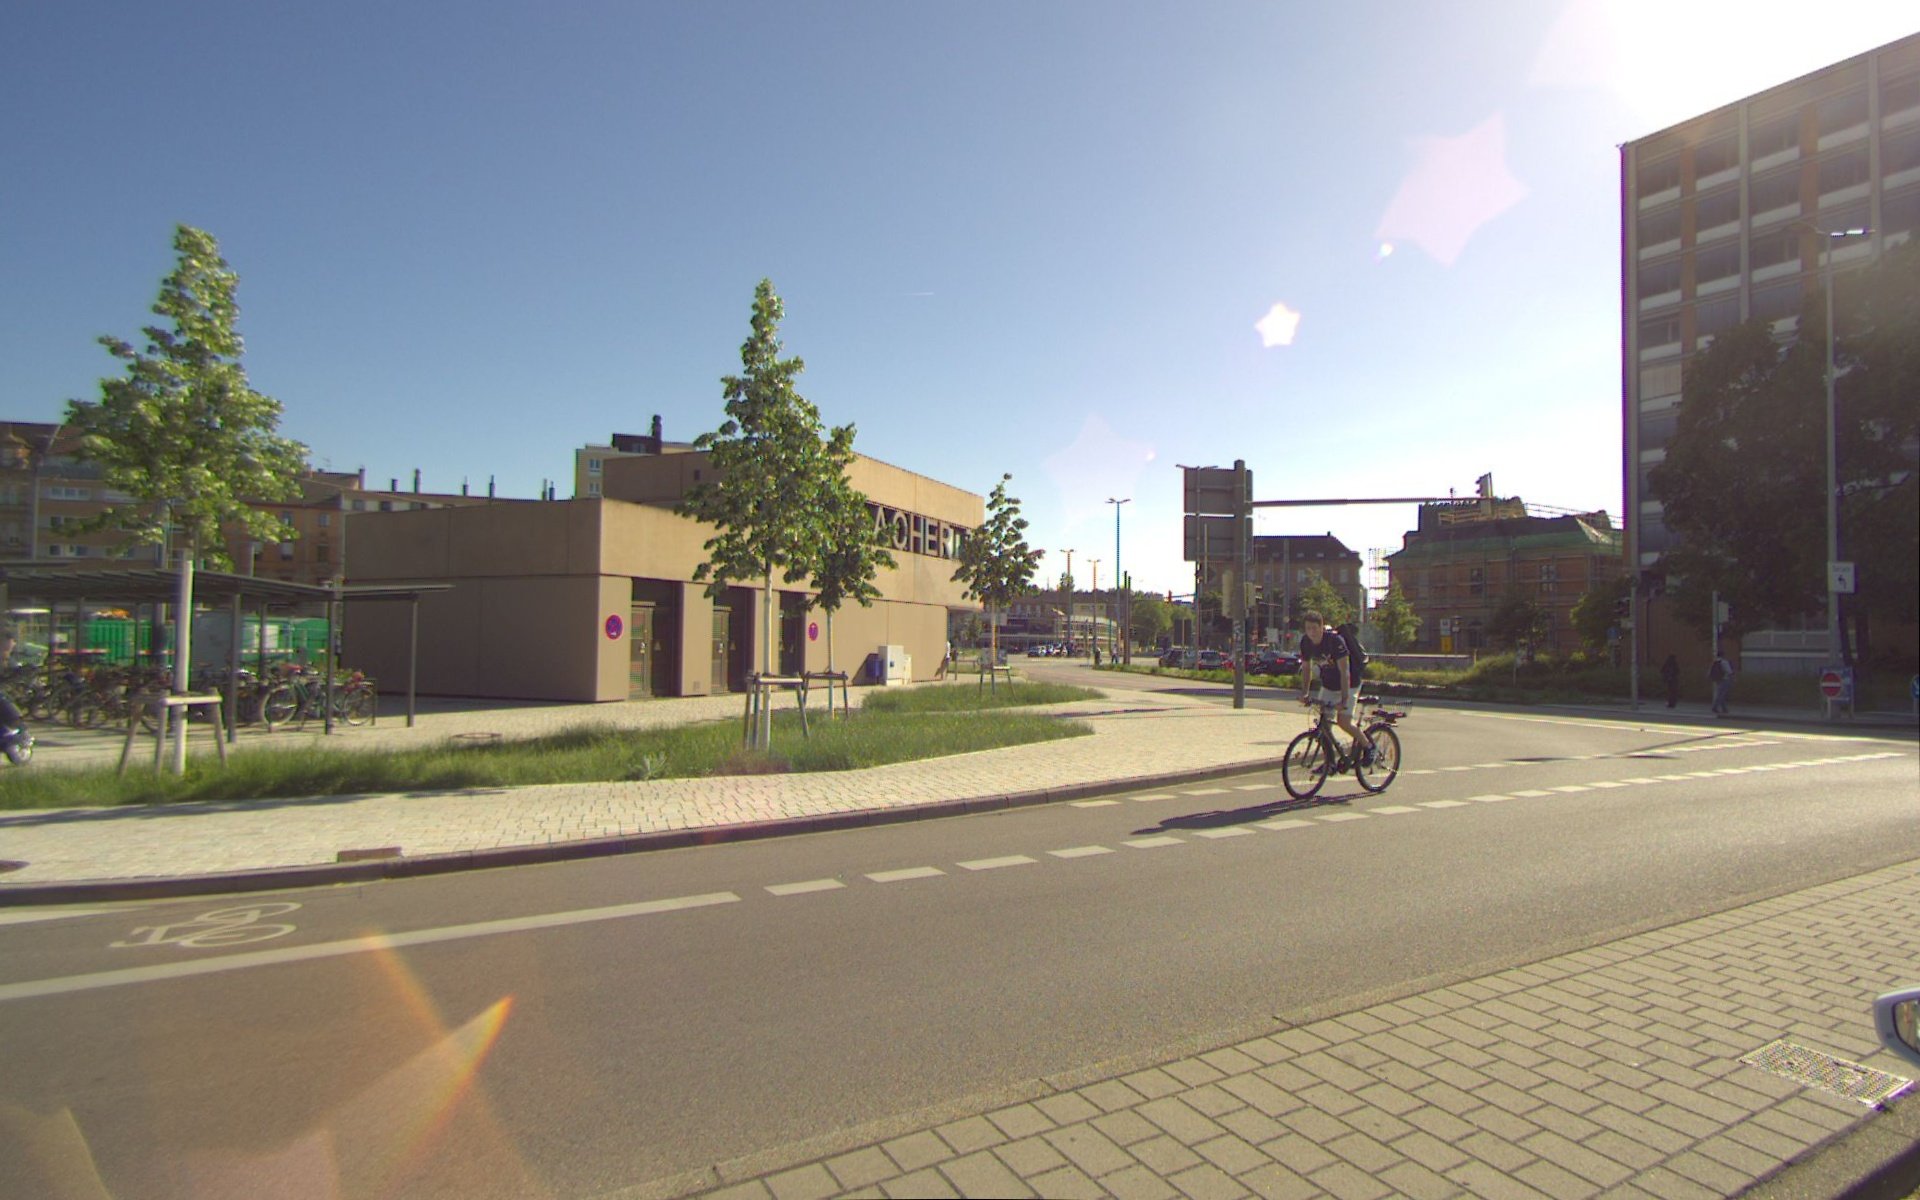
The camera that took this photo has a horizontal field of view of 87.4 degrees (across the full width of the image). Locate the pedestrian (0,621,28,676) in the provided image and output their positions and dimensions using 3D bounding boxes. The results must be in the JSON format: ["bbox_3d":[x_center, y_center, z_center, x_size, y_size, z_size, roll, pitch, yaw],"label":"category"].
[{"bbox_3d":[-27.155,1.388,28.686,0.550,1.538,0.588,0,-2,25],"label":"pedestrian"}]

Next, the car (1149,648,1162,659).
[{"bbox_3d":[30.420,8.311,156.261,1.750,1.565,3.642,2,0,13],"label":"car"}]

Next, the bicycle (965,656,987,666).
[{"bbox_3d":[1.314,4.987,82.771,1.709,0.754,0.641,2,0,-17],"label":"bicycle"}]

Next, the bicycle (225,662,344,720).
[{"bbox_3d":[-12.746,1.693,19.011,0.558,1.051,1.785,-2,-4,30],"label":"bicycle"}]

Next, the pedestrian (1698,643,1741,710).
[{"bbox_3d":[21.752,2.188,28.765,1.086,1.856,0.748,4,-3,-38],"label":"pedestrian"}]

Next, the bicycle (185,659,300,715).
[{"bbox_3d":[-14.024,1.677,19.688,0.557,1.051,1.788,-1,-4,22],"label":"bicycle"}]

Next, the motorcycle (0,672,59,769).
[{"bbox_3d":[-12.016,1.453,11.836,0.584,1.134,1.983,0,-2,26],"label":"motorcycle"}]

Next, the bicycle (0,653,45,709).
[{"bbox_3d":[-18.282,1.511,18.679,0.557,1.051,1.788,-1,-4,22],"label":"bicycle"}]

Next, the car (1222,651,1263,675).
[{"bbox_3d":[19.218,4.255,68.453,1.644,1.461,3.722,3,-3,-2],"label":"car"}]

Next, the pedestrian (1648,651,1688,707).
[{"bbox_3d":[21.239,2.353,30.131,0.670,1.633,0.717,2,-2,-14],"label":"pedestrian"}]

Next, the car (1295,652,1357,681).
[{"bbox_3d":[20.134,3.647,55.408,1.665,1.454,3.733,1,-3,-7],"label":"car"}]

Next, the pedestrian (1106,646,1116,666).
[{"bbox_3d":[12.633,4.683,83.935,0.643,1.632,0.676,2,0,-4],"label":"pedestrian"}]

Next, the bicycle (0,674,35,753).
[{"bbox_3d":[-13.276,1.495,13.018,0.557,1.051,1.788,-1,-4,22],"label":"bicycle"}]

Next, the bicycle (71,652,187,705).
[{"bbox_3d":[-17.291,1.624,20.952,0.557,1.051,1.788,-1,-4,22],"label":"bicycle"}]

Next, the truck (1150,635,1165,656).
[{"bbox_3d":[36.594,8.370,185.814,2.549,3.723,5.229,2,0,10],"label":"truck"}]

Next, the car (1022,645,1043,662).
[{"bbox_3d":[9.887,7.263,136.046,1.960,2.040,4.002,2,0,16],"label":"car"}]

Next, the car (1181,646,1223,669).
[{"bbox_3d":[16.319,3.861,67.759,1.697,1.461,3.798,2,-3,-3],"label":"car"}]

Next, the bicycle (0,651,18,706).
[{"bbox_3d":[-18.963,1.486,18.849,0.557,1.051,1.788,-1,-4,22],"label":"bicycle"}]

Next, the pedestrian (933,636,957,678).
[{"bbox_3d":[-0.630,2.392,42.129,0.778,1.745,0.594,-2,-5,38],"label":"pedestrian"}]

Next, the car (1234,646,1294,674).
[{"bbox_3d":[18.804,3.719,62.345,1.953,1.645,4.374,1,-3,-7],"label":"car"}]

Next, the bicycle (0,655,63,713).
[{"bbox_3d":[-17.720,1.534,18.443,0.557,1.051,1.788,-1,-4,22],"label":"bicycle"}]

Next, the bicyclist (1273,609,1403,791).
[{"bbox_3d":[3.640,0.938,9.699,0.966,1.642,0.716,2,-3,-30],"label":"bicyclist"}]

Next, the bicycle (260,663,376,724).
[{"bbox_3d":[-11.735,1.692,18.428,0.557,1.051,1.788,-1,-4,22],"label":"bicycle"}]

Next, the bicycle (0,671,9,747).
[{"bbox_3d":[-13.875,1.468,13.280,0.557,1.051,1.788,-1,-4,22],"label":"bicycle"}]

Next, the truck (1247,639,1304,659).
[{"bbox_3d":[40.129,6.213,127.820,6.770,2.343,2.215,2,-3,-16],"label":"truck"}]

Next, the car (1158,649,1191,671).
[{"bbox_3d":[15.876,4.442,74.451,1.696,1.461,3.912,3,-3,2],"label":"car"}]

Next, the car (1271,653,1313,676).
[{"bbox_3d":[24.708,4.793,74.849,1.846,1.638,3.626,2,-3,0],"label":"car"}]

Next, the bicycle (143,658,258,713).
[{"bbox_3d":[-15.195,1.689,20.157,0.557,1.051,1.788,-1,-4,22],"label":"bicycle"}]

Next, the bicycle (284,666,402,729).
[{"bbox_3d":[-10.945,1.706,17.901,0.557,1.051,1.788,-1,-4,22],"label":"bicycle"}]

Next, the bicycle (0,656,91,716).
[{"bbox_3d":[-16.981,1.543,18.201,0.557,1.051,1.788,-1,-4,22],"label":"bicycle"}]

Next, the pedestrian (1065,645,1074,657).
[{"bbox_3d":[14.050,6.535,128.967,0.855,1.427,0.688,2,0,-32],"label":"pedestrian"}]

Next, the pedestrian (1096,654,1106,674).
[{"bbox_3d":[11.424,5.188,81.310,0.566,1.632,0.565,2,0,-30],"label":"pedestrian"}]

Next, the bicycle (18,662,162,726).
[{"bbox_3d":[-14.936,1.590,17.311,0.557,1.051,1.788,-1,-4,22],"label":"bicycle"}]

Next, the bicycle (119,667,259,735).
[{"bbox_3d":[-12.772,1.648,16.716,0.557,1.051,1.788,-1,-4,22],"label":"bicycle"}]

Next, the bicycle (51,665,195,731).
[{"bbox_3d":[-14.041,1.617,16.911,0.557,1.051,1.788,-1,-4,22],"label":"bicycle"}]

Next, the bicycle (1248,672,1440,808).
[{"bbox_3d":[3.738,1.301,9.741,1.848,1.180,0.742,2,-4,-30],"label":"bicycle"}]

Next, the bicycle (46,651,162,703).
[{"bbox_3d":[-17.968,1.603,21.136,0.557,1.051,1.788,-1,-4,22],"label":"bicycle"}]

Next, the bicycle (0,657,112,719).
[{"bbox_3d":[-16.338,1.547,17.906,0.557,1.051,1.788,-1,-4,22],"label":"bicycle"}]

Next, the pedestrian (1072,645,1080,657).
[{"bbox_3d":[14.964,6.570,129.534,0.855,1.427,0.688,2,0,-32],"label":"pedestrian"}]
